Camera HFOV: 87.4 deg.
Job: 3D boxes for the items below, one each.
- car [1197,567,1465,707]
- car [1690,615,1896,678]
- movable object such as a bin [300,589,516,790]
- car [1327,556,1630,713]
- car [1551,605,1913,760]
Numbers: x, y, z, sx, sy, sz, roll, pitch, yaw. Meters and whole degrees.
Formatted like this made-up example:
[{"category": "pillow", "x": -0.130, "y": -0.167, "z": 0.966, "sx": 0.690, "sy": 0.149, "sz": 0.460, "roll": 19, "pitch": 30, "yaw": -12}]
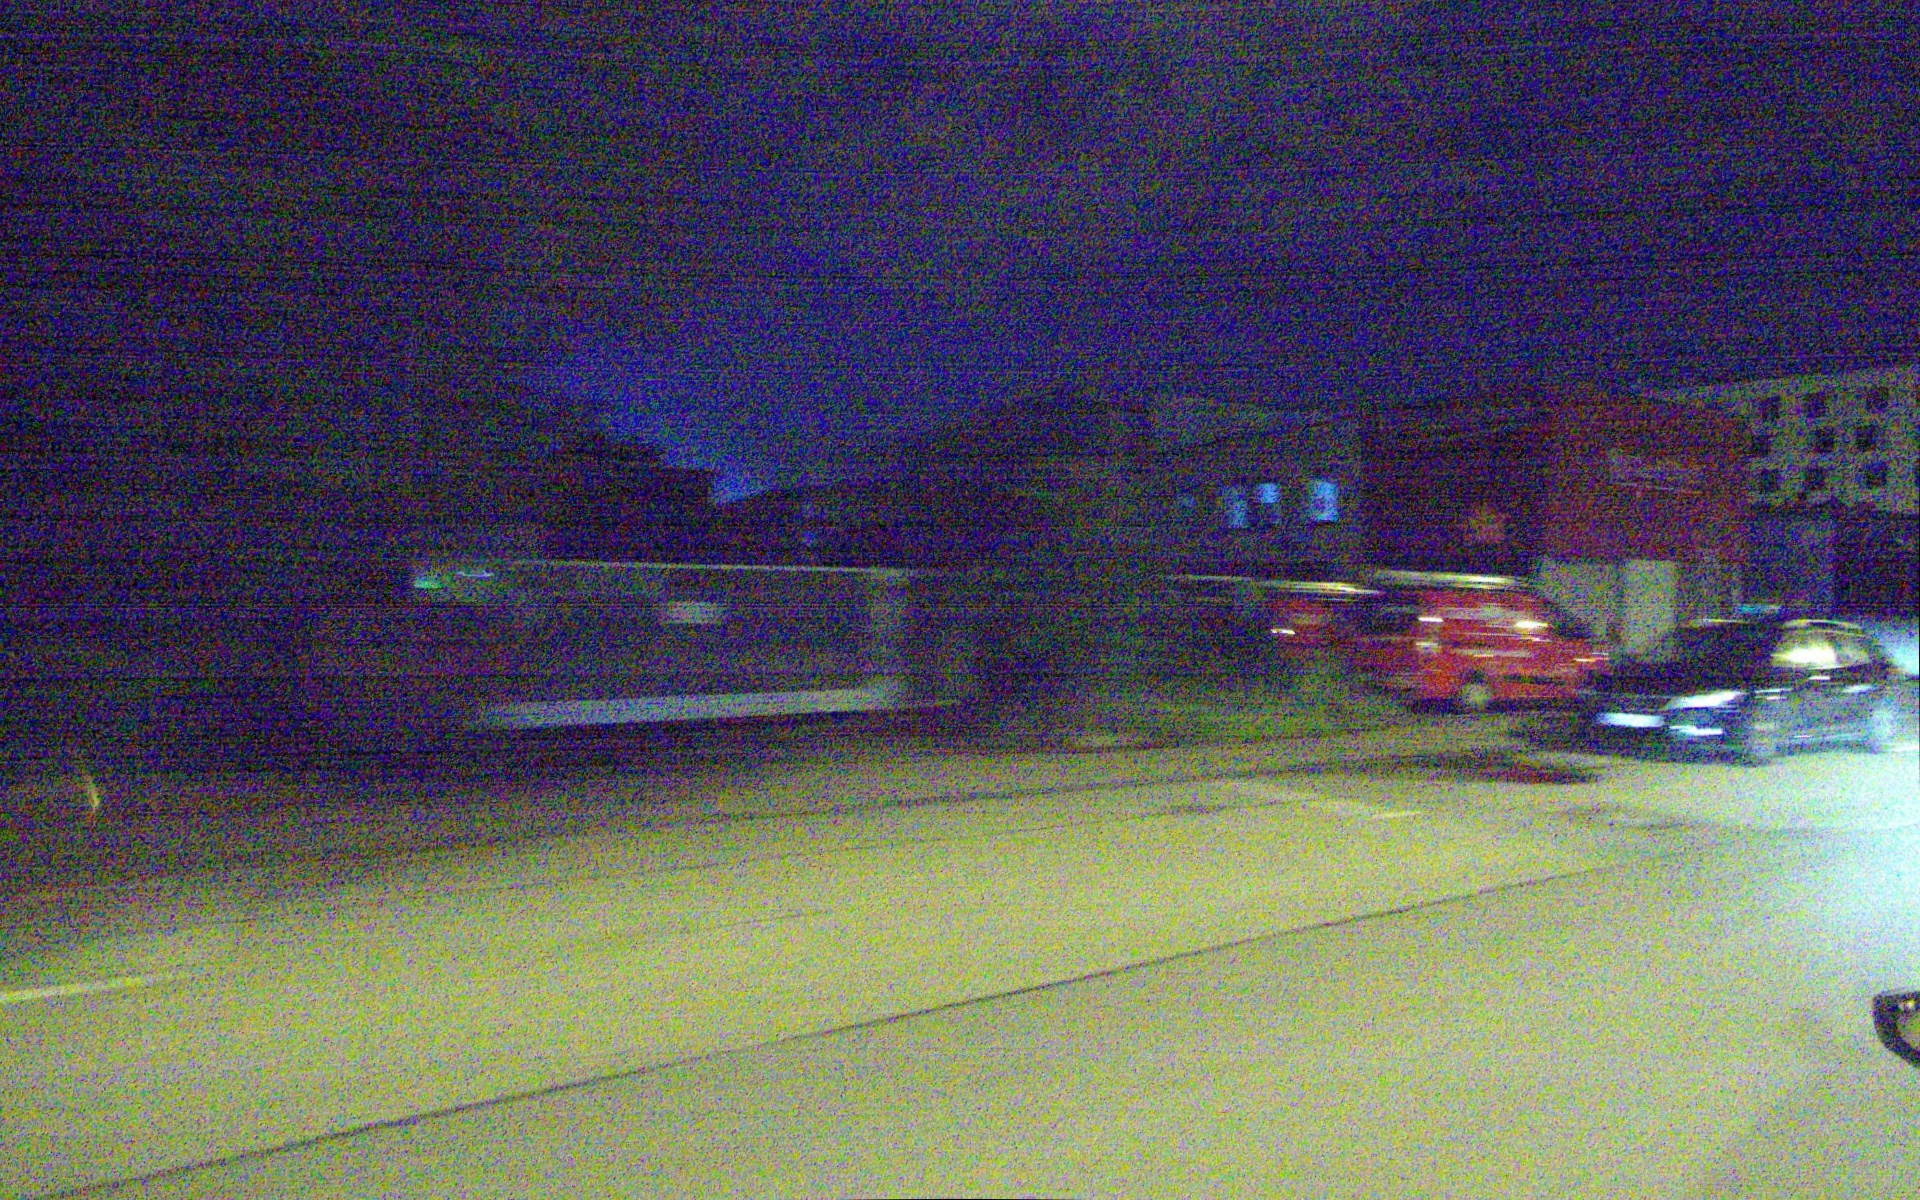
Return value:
[{"category": "car", "x": 6.975, "y": 0.677, "z": 18.904, "sx": 4.561, "sy": 2.352, "sz": 2.201, "roll": 1, "pitch": -1, "yaw": -25}, {"category": "car", "x": 22.689, "y": 1.235, "z": 27.523, "sx": 1.795, "sy": 1.591, "sz": 3.971, "roll": 1, "pitch": -1, "yaw": -28}, {"category": "movable object such as a bin", "x": -4.755, "y": 0.696, "z": 8.917, "sx": 1.395, "sy": 1.514, "sz": 2.331, "roll": 1, "pitch": -1, "yaw": -22}, {"category": "car", "x": 8.779, "y": 0.587, "z": 16.972, "sx": 4.899, "sy": 2.352, "sz": 1.988, "roll": 1, "pitch": -2, "yaw": -25}, {"category": "car", "x": 9.089, "y": 0.874, "z": 11.774, "sx": 4.267, "sy": 1.546, "sz": 1.748, "roll": 1, "pitch": -1, "yaw": -28}]
